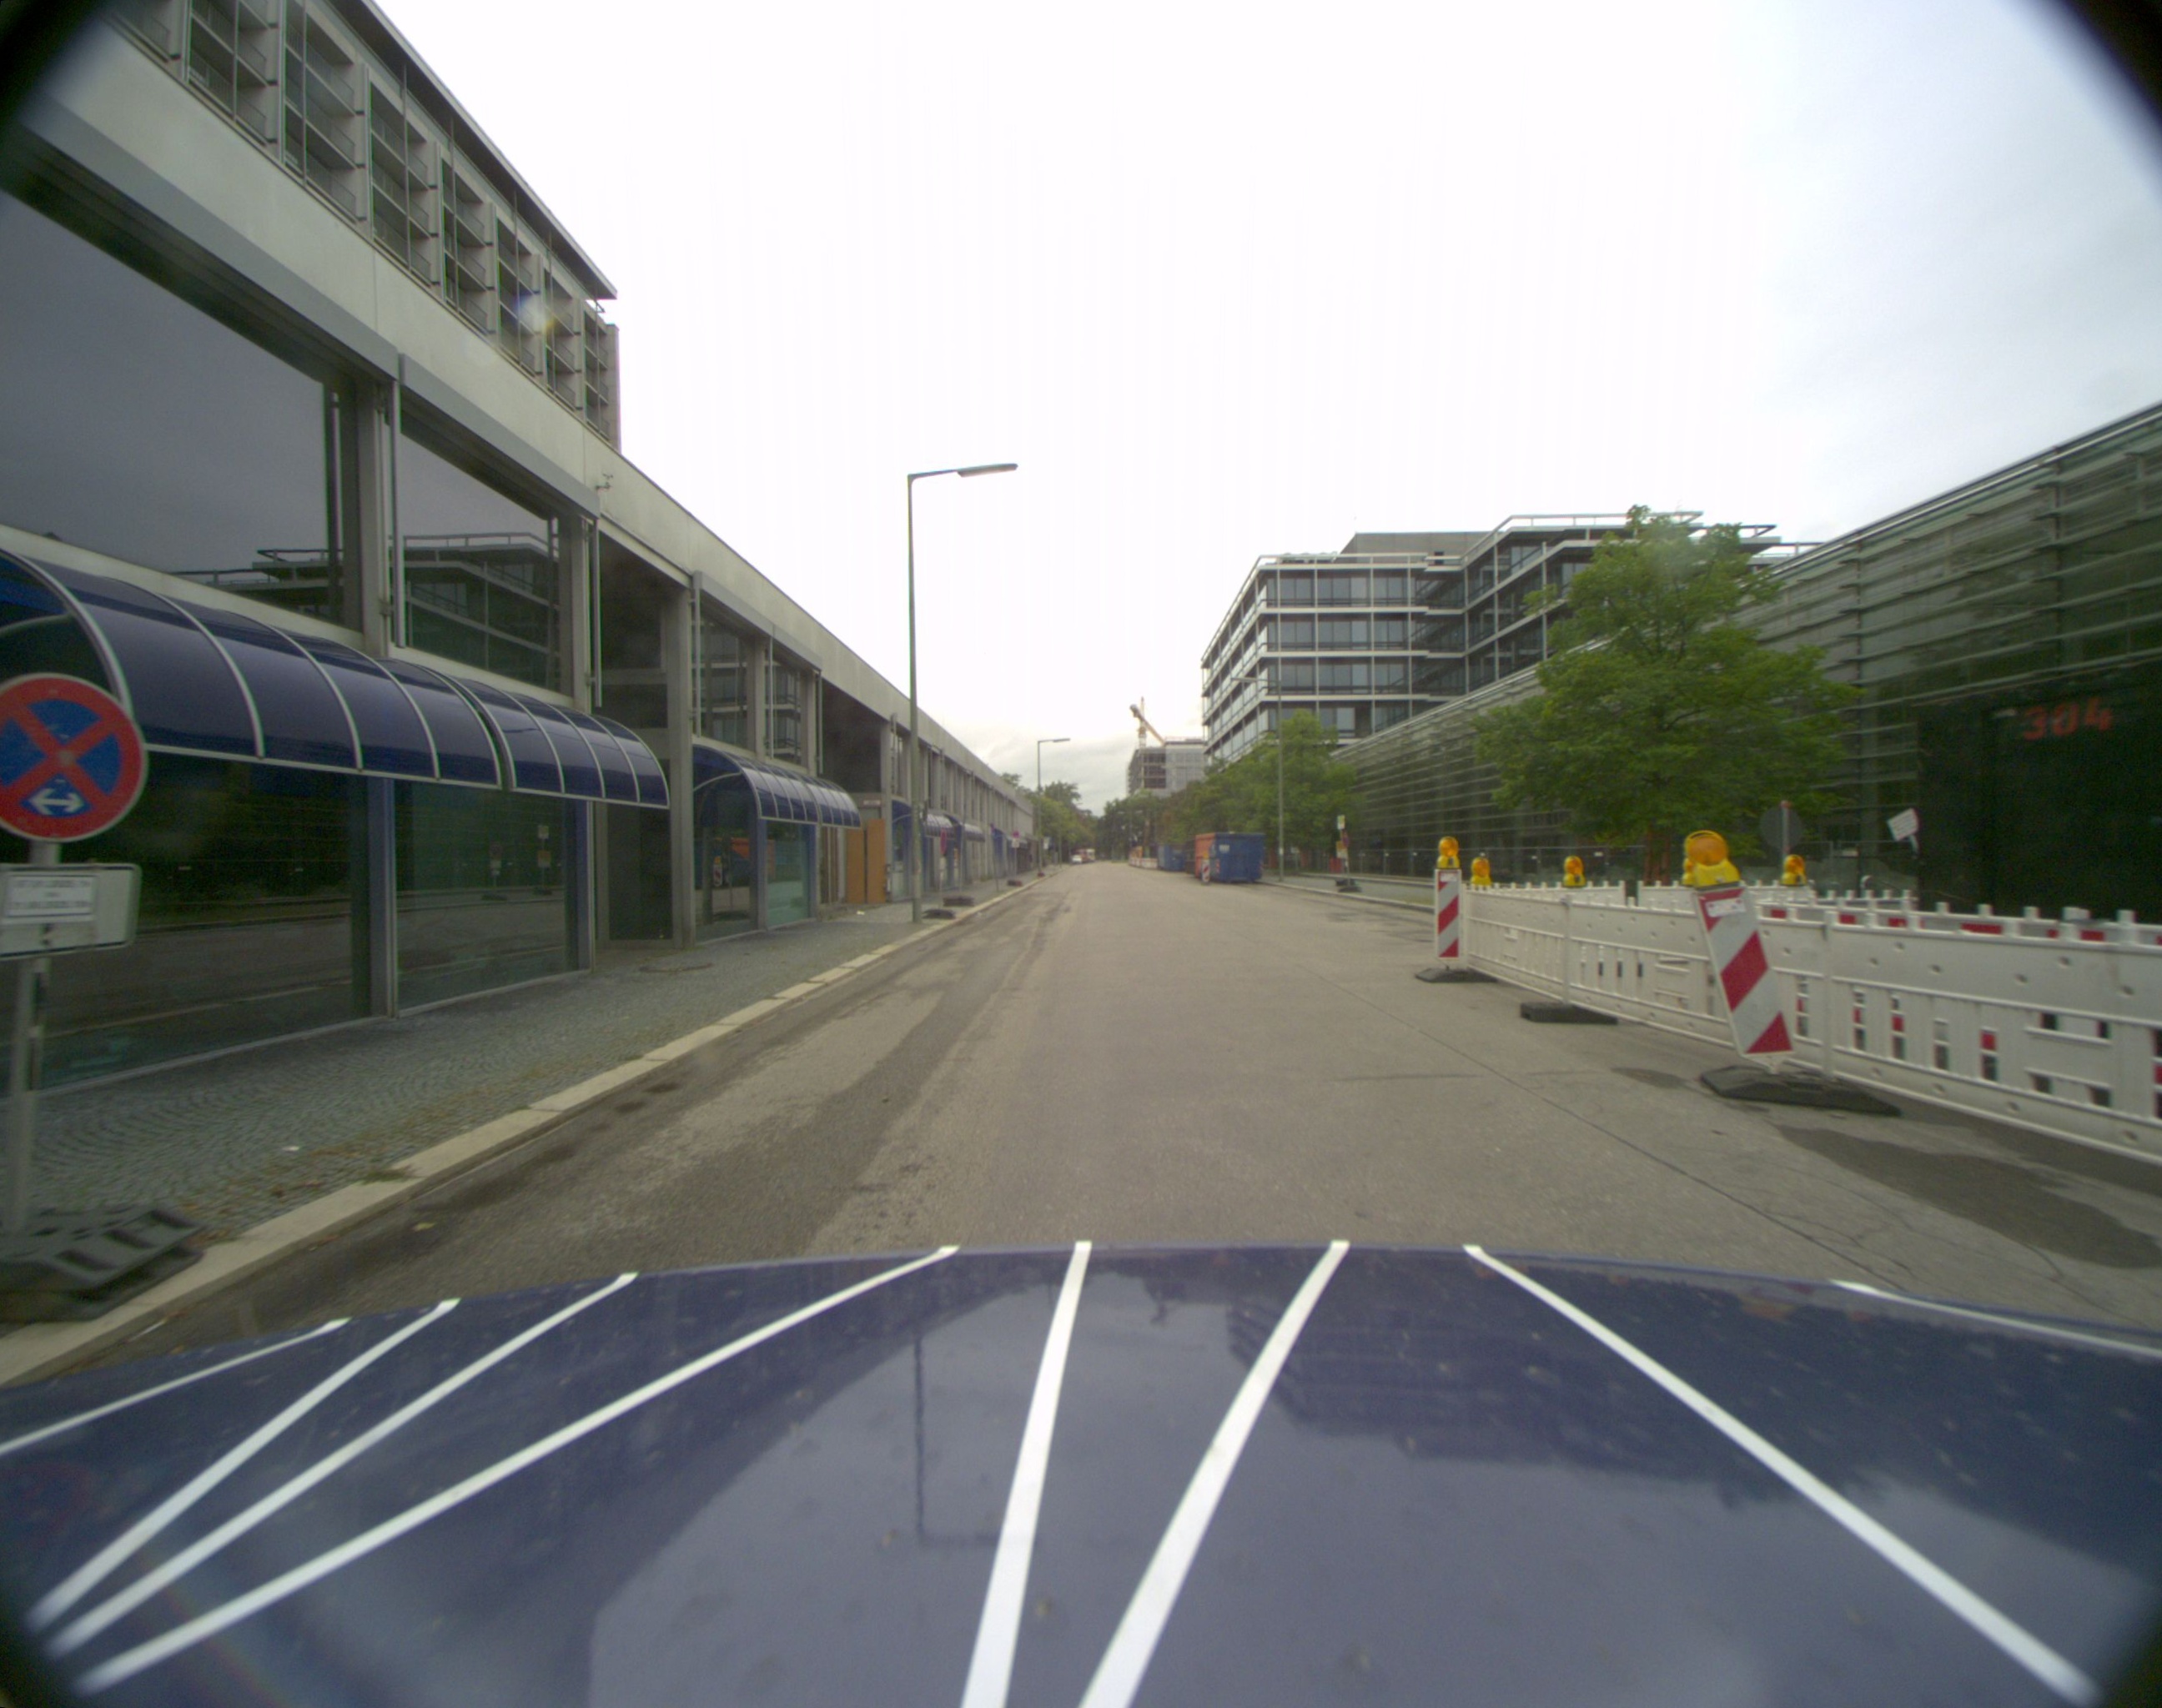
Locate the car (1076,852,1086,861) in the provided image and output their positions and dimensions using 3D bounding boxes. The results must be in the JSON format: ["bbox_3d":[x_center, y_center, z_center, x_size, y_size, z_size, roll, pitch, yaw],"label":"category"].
[{"bbox_3d":[-0.027,0.476,130.415,1.536,1.483,4.059,0,1,-1],"label":"car"}]

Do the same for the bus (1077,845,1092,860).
[{"bbox_3d":[0.704,-0.263,137.801,2.077,2.789,6.274,0,0,6],"label":"bus"}]

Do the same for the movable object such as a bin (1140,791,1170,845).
[{"bbox_3d":[9.522,-4.519,99.542,2.911,6.526,11.783,0,1,1],"label":"movable object such as a bin"}]

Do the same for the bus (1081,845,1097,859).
[{"bbox_3d":[1.611,-0.385,151.770,2.076,2.714,5.871,0,0,10],"label":"bus"}]
